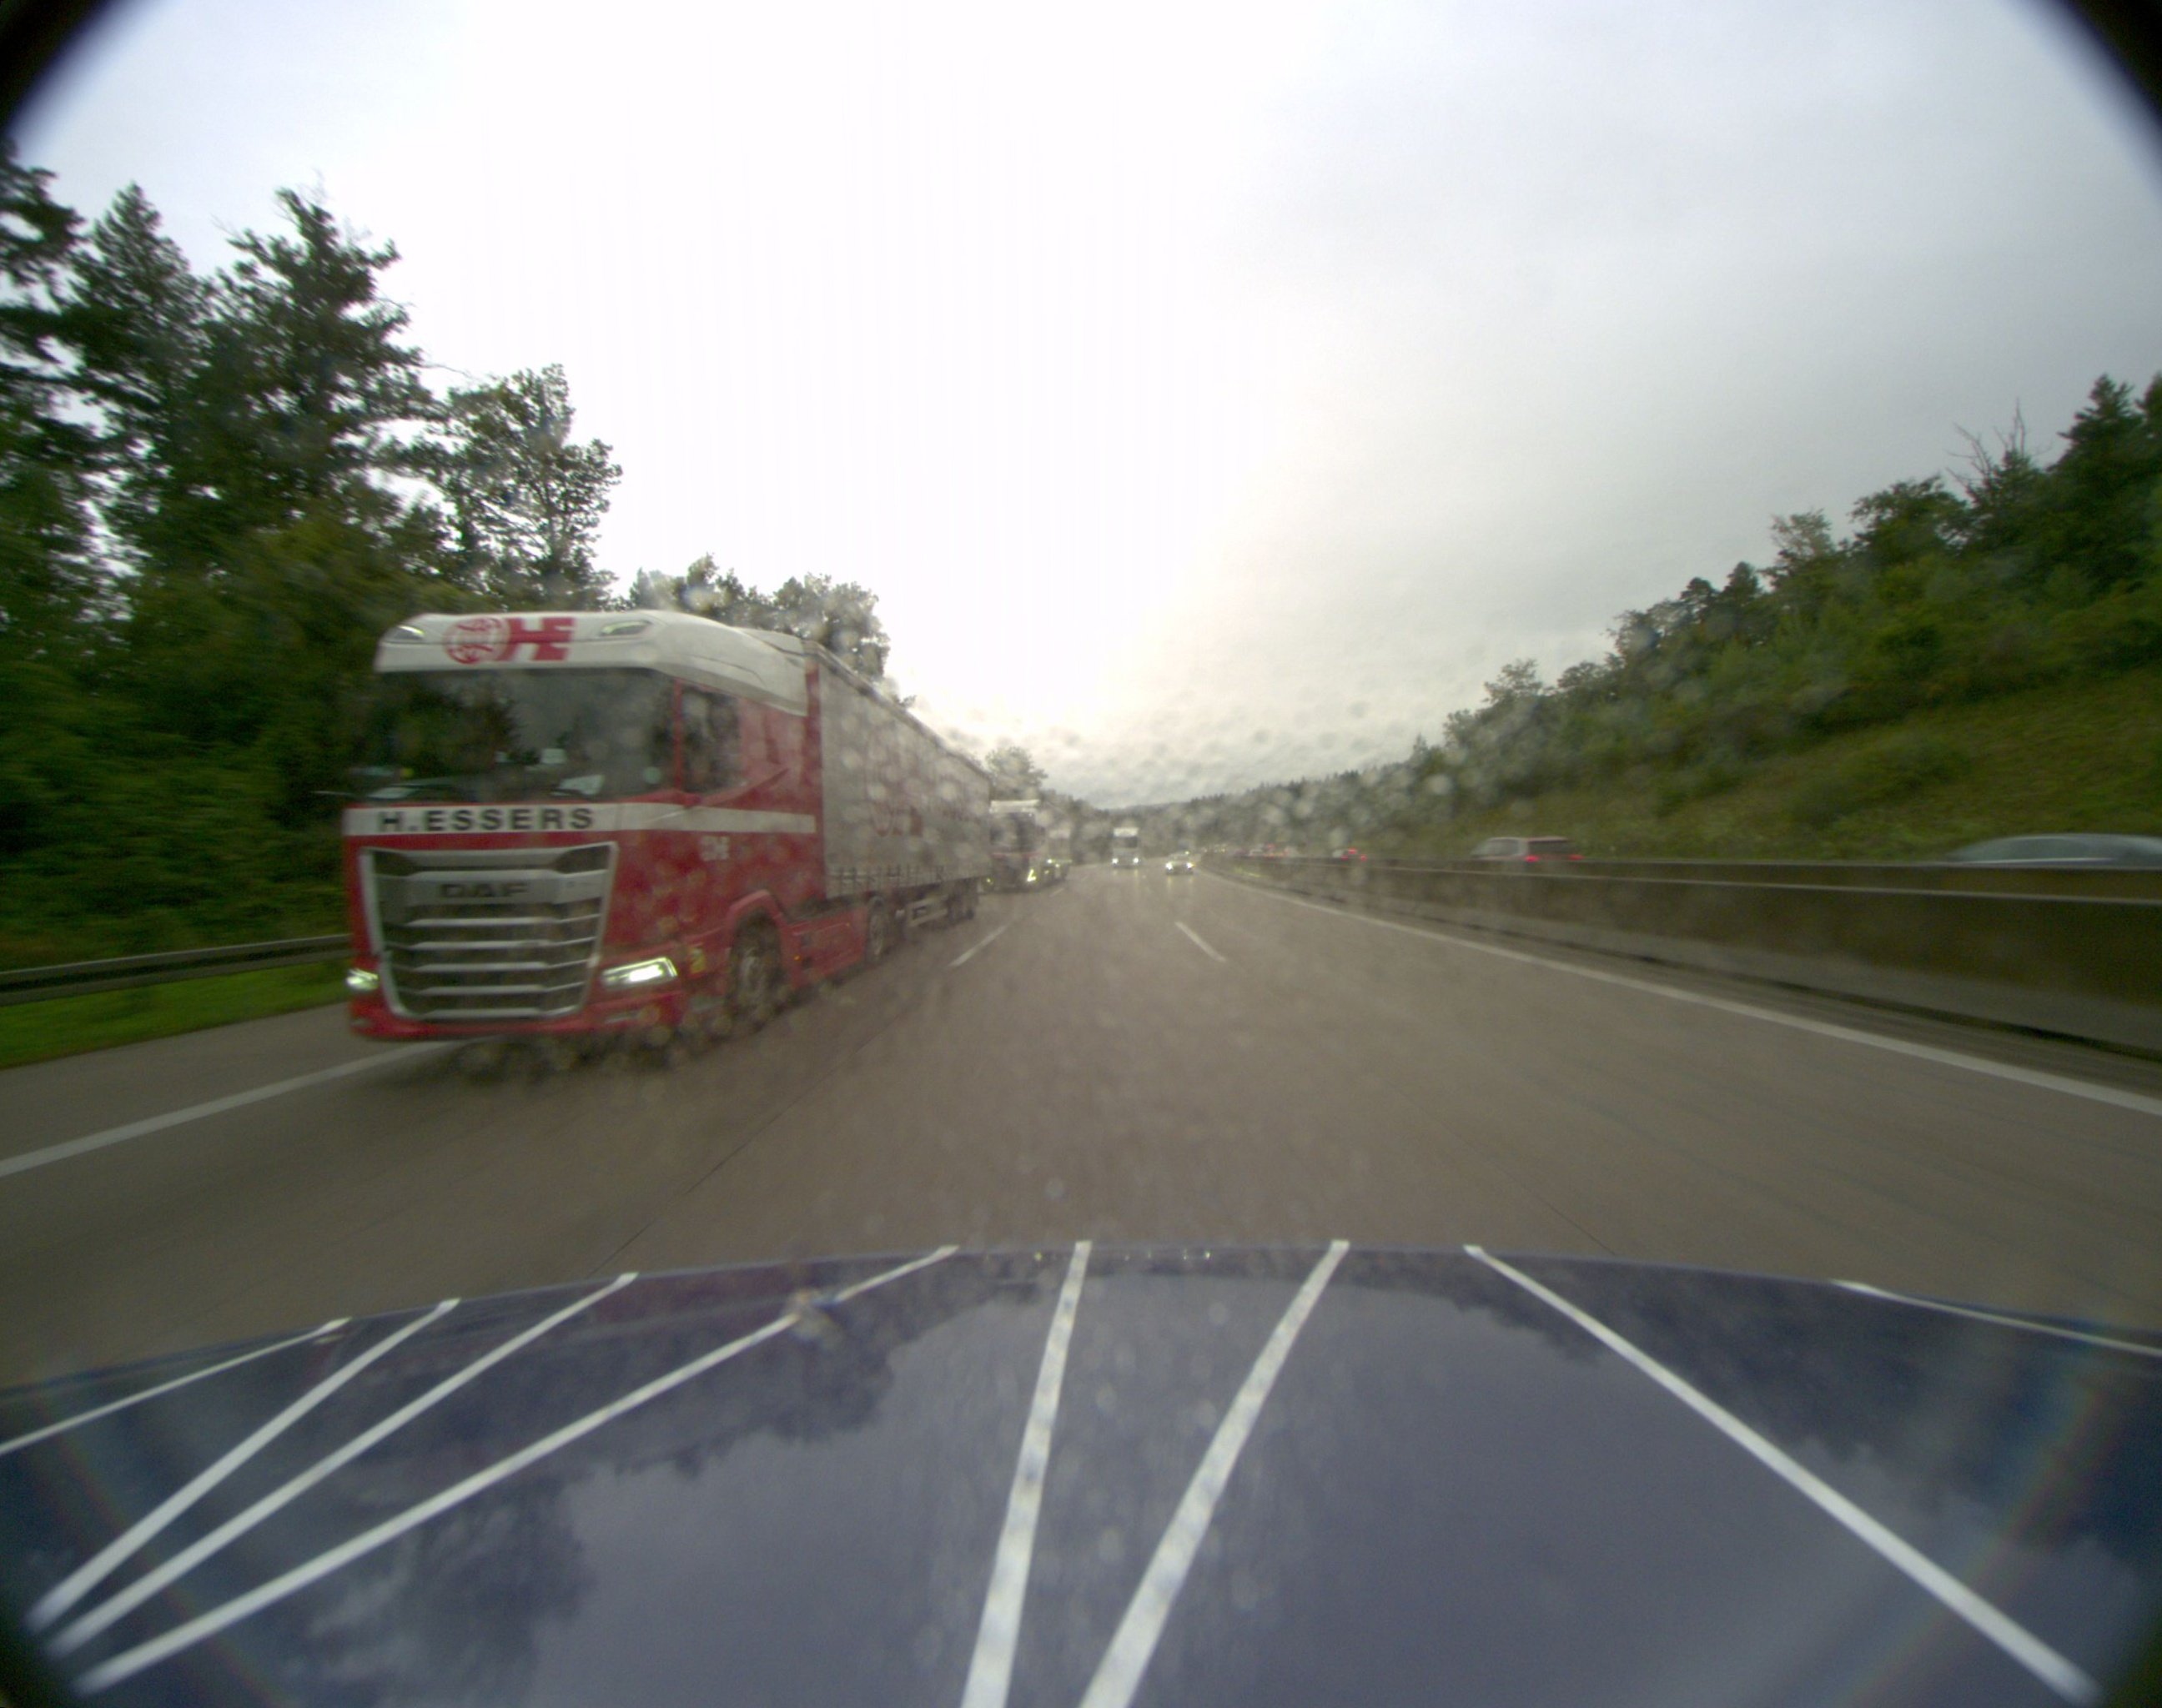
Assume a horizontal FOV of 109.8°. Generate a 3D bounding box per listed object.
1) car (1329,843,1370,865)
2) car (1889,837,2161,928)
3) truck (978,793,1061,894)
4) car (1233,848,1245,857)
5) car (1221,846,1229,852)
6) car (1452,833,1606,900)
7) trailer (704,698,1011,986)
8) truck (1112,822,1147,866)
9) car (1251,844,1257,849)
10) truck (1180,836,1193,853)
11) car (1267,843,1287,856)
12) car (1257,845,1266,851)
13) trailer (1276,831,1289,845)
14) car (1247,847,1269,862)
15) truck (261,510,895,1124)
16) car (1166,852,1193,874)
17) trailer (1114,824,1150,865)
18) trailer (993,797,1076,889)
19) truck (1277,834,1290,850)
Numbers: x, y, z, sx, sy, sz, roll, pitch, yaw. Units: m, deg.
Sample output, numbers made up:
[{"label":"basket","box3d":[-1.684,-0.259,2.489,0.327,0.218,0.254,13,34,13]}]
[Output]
[{"label":"car","box3d":[19.233,0.008,54.659,1.578,1.478,4.284,-1,0,2]},{"label":"car","box3d":[16.533,0.389,12.455,1.998,1.286,4.297,-2,0,0]},{"label":"truck","box3d":[-2.621,-0.455,34.389,2.805,4.080,5.968,-2,1,4]},{"label":"car","box3d":[25.983,-0.258,125.329,1.867,1.539,4.003,-1,0,11]},{"label":"car","box3d":[34.765,-1.302,183.231,1.656,1.338,4.088,-2,0,8]},{"label":"car","box3d":[13.169,0.326,22.713,1.998,1.758,4.537,-2,0,2]},{"label":"trailer","box3d":[-3.679,-0.171,16.792,2.376,3.930,12.522,-2,0,3]},{"label":"truck","box3d":[4.960,-0.984,76.661,2.726,4.017,5.756,-4,0,9]},{"label":"car","box3d":[49.104,-2.107,215.343,1.656,1.338,4.089,-2,0,12]},{"label":"truck","box3d":[26.829,-2.434,193.509,2.735,4.127,8.628,-2,0,11]},{"label":"car","box3d":[24.702,-0.555,95.922,1.745,1.552,4.285,-2,0,5]},{"label":"car","box3d":[42.611,-1.444,179.441,1.808,1.338,4.770,-2,0,12]},{"label":"trailer","box3d":[57.395,-4.523,216.343,3.019,3.852,13.712,-2,0,13]},{"label":"car","box3d":[18.398,0.043,79.056,1.745,1.552,4.286,-1,0,7]},{"label":"truck","box3d":[-4.044,-0.199,8.037,2.380,3.930,6.161,-2,0,1]},{"label":"car","box3d":[6.859,0.598,53.061,1.715,1.399,4.938,-2,0,7]},{"label":"trailer","box3d":[5.780,-1.011,83.339,2.684,4.017,13.712,-4,0,8]},{"label":"trailer","box3d":[-2.160,-0.557,41.356,2.740,4.080,13.684,-2,0,4]},{"label":"truck","box3d":[43.290,-2.482,162.574,2.625,3.277,9.392,-1,1,15]}]
